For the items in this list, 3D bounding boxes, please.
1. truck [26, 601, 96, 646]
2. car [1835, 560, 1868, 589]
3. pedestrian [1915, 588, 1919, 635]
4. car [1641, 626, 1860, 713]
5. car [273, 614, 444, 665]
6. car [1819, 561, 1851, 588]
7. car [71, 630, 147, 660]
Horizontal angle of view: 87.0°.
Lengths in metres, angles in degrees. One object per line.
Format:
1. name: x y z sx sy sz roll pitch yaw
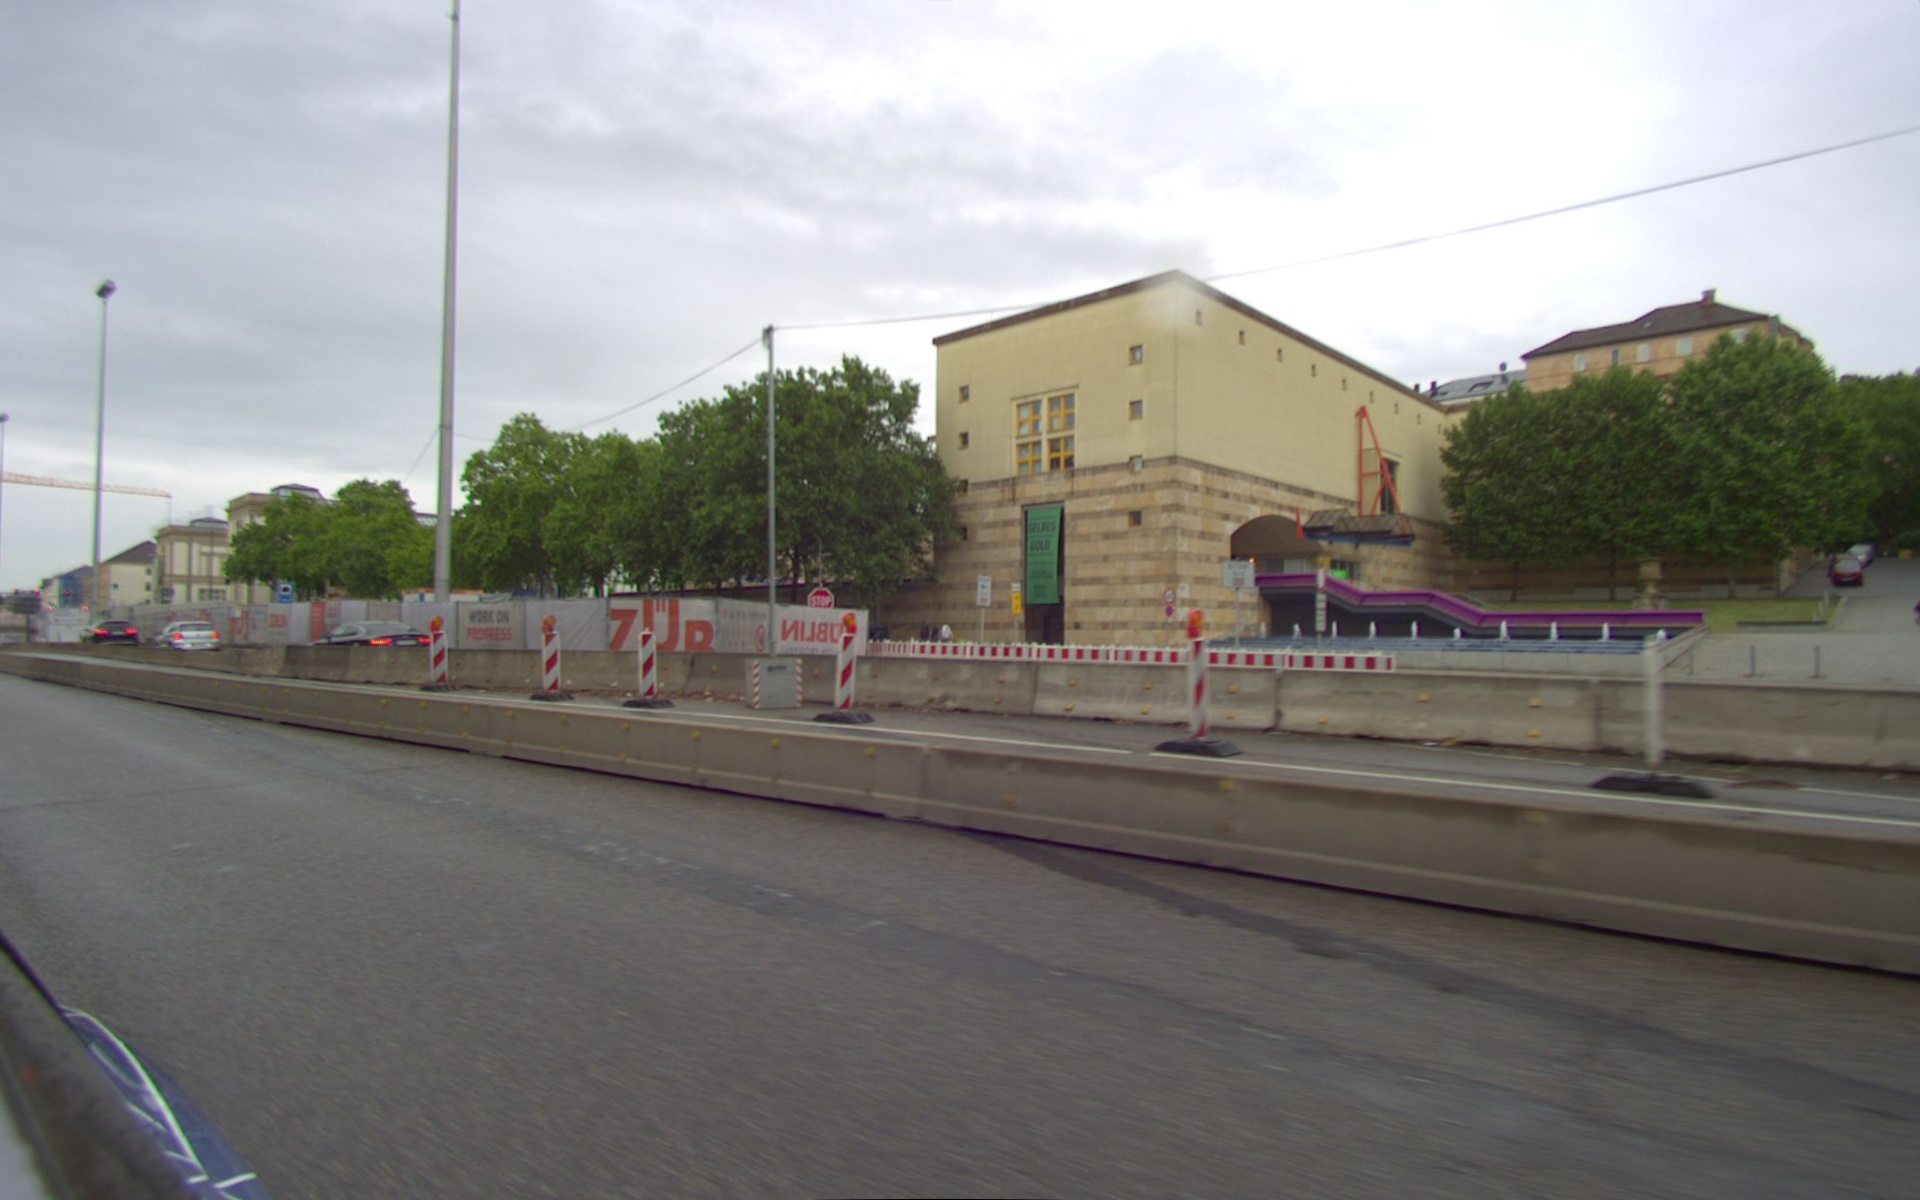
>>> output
1. truck: -58.346 1.552 65.624 7.350 2.740 2.373 -1 -3 41
2. car: 63.368 -1.775 71.947 1.701 1.807 3.907 0 -3 42
3. pedestrian: 35.895 0.423 37.162 0.673 1.728 0.956 0 -1 -7
4. car: 15.150 1.308 19.510 3.212 1.512 1.575 -1 -4 40
5. car: -16.538 1.068 27.791 4.741 1.272 1.764 -1 -1 26
6. car: 68.806 -1.998 79.636 1.812 1.796 3.946 0 -3 40
7. car: -45.022 2.359 53.530 4.750 1.542 1.904 -1 -2 35
